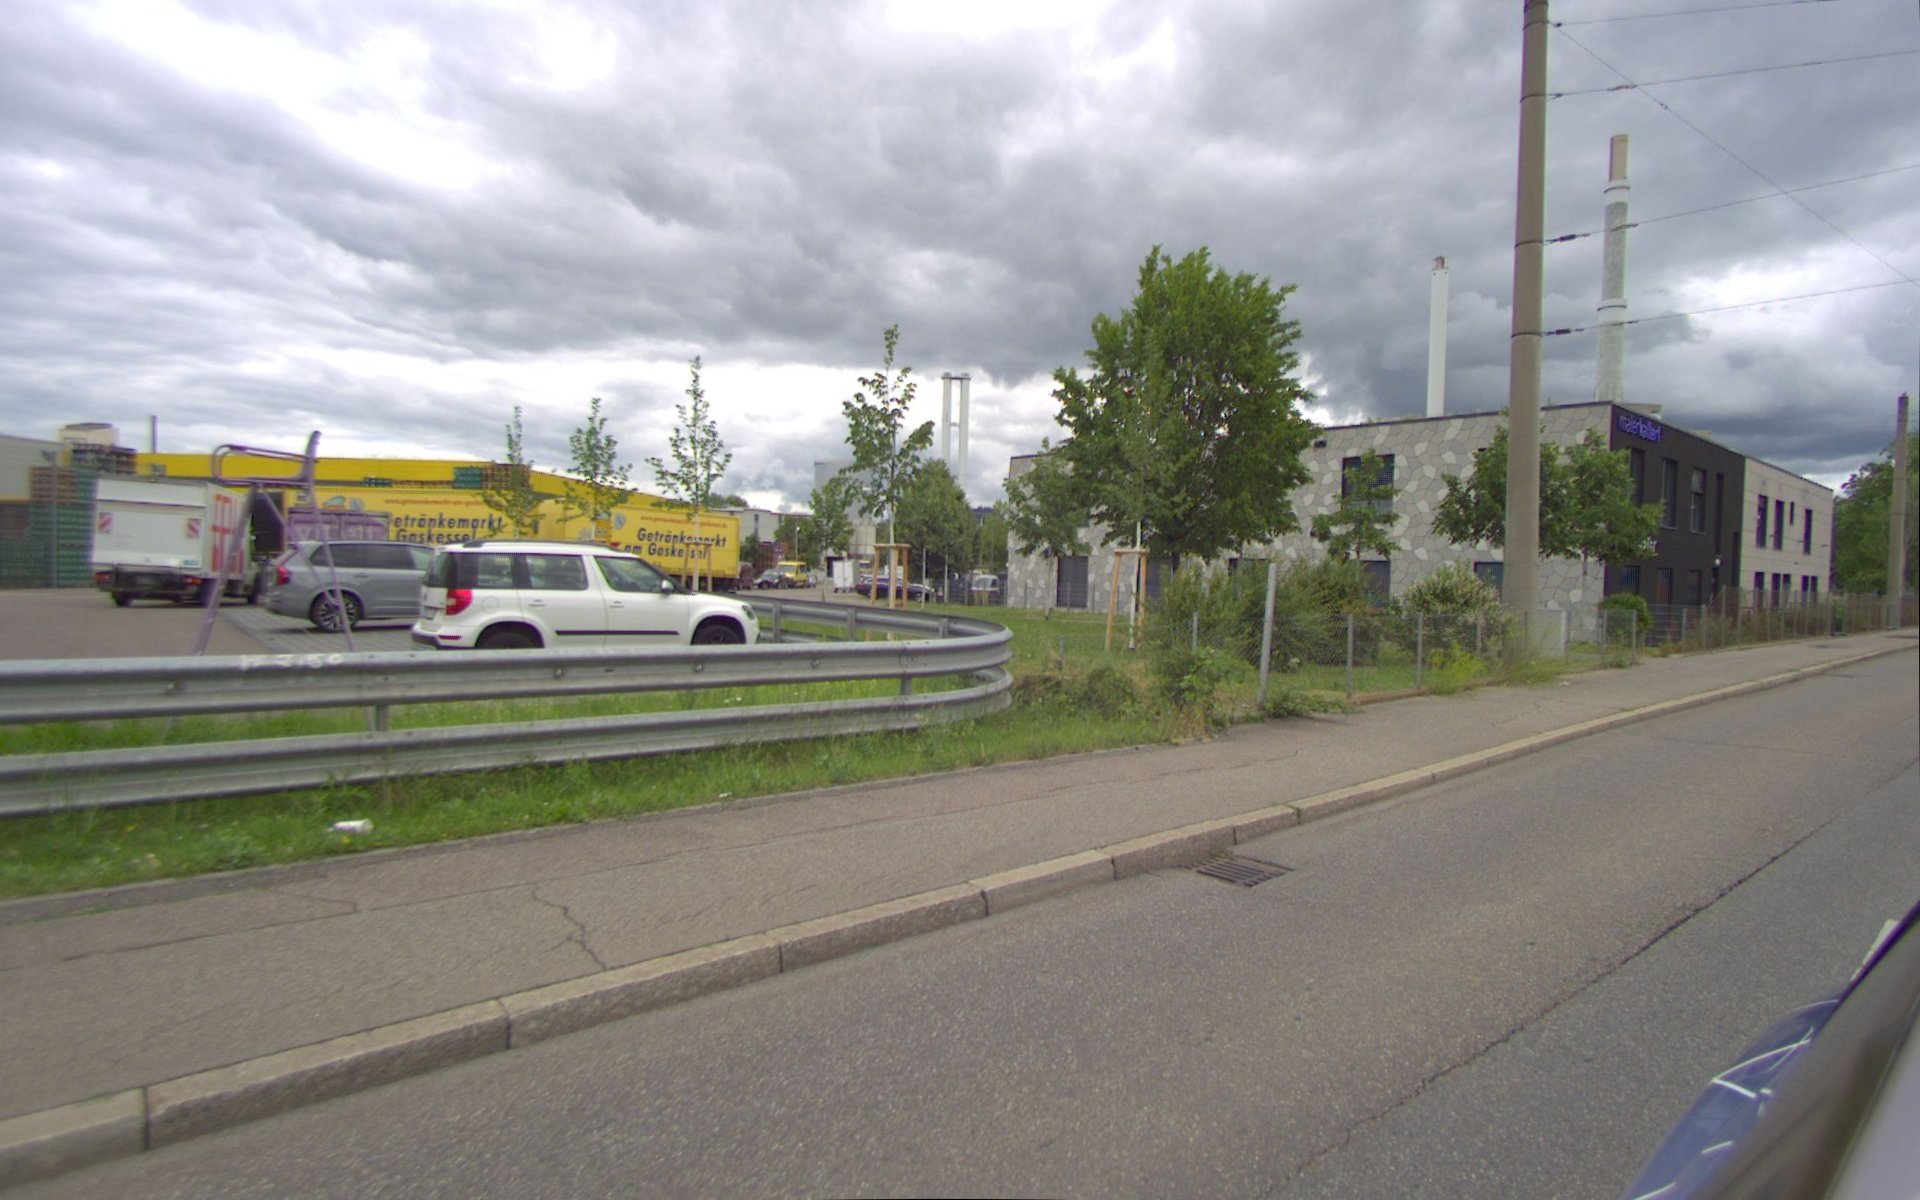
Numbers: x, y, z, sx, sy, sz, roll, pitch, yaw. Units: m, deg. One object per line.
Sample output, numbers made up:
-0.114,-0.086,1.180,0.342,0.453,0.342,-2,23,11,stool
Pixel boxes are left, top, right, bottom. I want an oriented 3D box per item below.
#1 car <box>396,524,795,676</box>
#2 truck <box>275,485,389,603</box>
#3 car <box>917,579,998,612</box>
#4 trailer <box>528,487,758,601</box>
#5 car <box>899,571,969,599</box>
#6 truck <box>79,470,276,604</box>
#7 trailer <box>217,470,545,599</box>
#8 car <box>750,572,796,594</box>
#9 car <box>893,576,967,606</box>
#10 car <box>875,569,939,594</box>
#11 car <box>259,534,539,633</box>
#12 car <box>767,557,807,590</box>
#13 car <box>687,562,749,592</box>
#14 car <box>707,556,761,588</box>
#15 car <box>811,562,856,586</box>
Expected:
-4.408,0.018,12.643,4.351,1.594,1.753,1,0,-40,car
-18.770,-1.474,30.487,2.571,3.075,7.777,-1,0,-30,truck
-0.172,-0.276,54.763,4.291,1.604,2.001,2,1,-2,car
-12.881,-2.144,41.755,8.547,4.122,2.944,1,1,-43,trailer
-1.642,-0.972,63.559,4.291,1.604,2.001,2,1,-2,car
-20.668,-1.442,27.238,2.302,3.075,7.785,-1,0,-23,truck
-20.577,-2.253,36.689,9.813,4.012,2.926,2,1,-14,trailer
-14.265,-1.263,77.398,1.969,1.625,4.360,-1,0,12,car
-1.782,-0.553,59.692,4.291,1.604,2.001,2,1,-2,car
-3.668,-1.312,70.309,4.291,1.604,2.001,2,1,-2,car
-10.983,-0.325,19.954,4.601,1.741,1.917,0,2,-37,car
-15.005,-2.310,87.949,1.970,2.724,4.361,2,2,12,car
-15.248,-1.426,64.045,1.971,1.713,4.358,3,1,13,car
-15.669,-1.910,70.506,1.970,2.148,4.358,-1,0,13,car
-9.404,-1.920,75.780,1.970,1.605,4.358,-1,0,13,car
